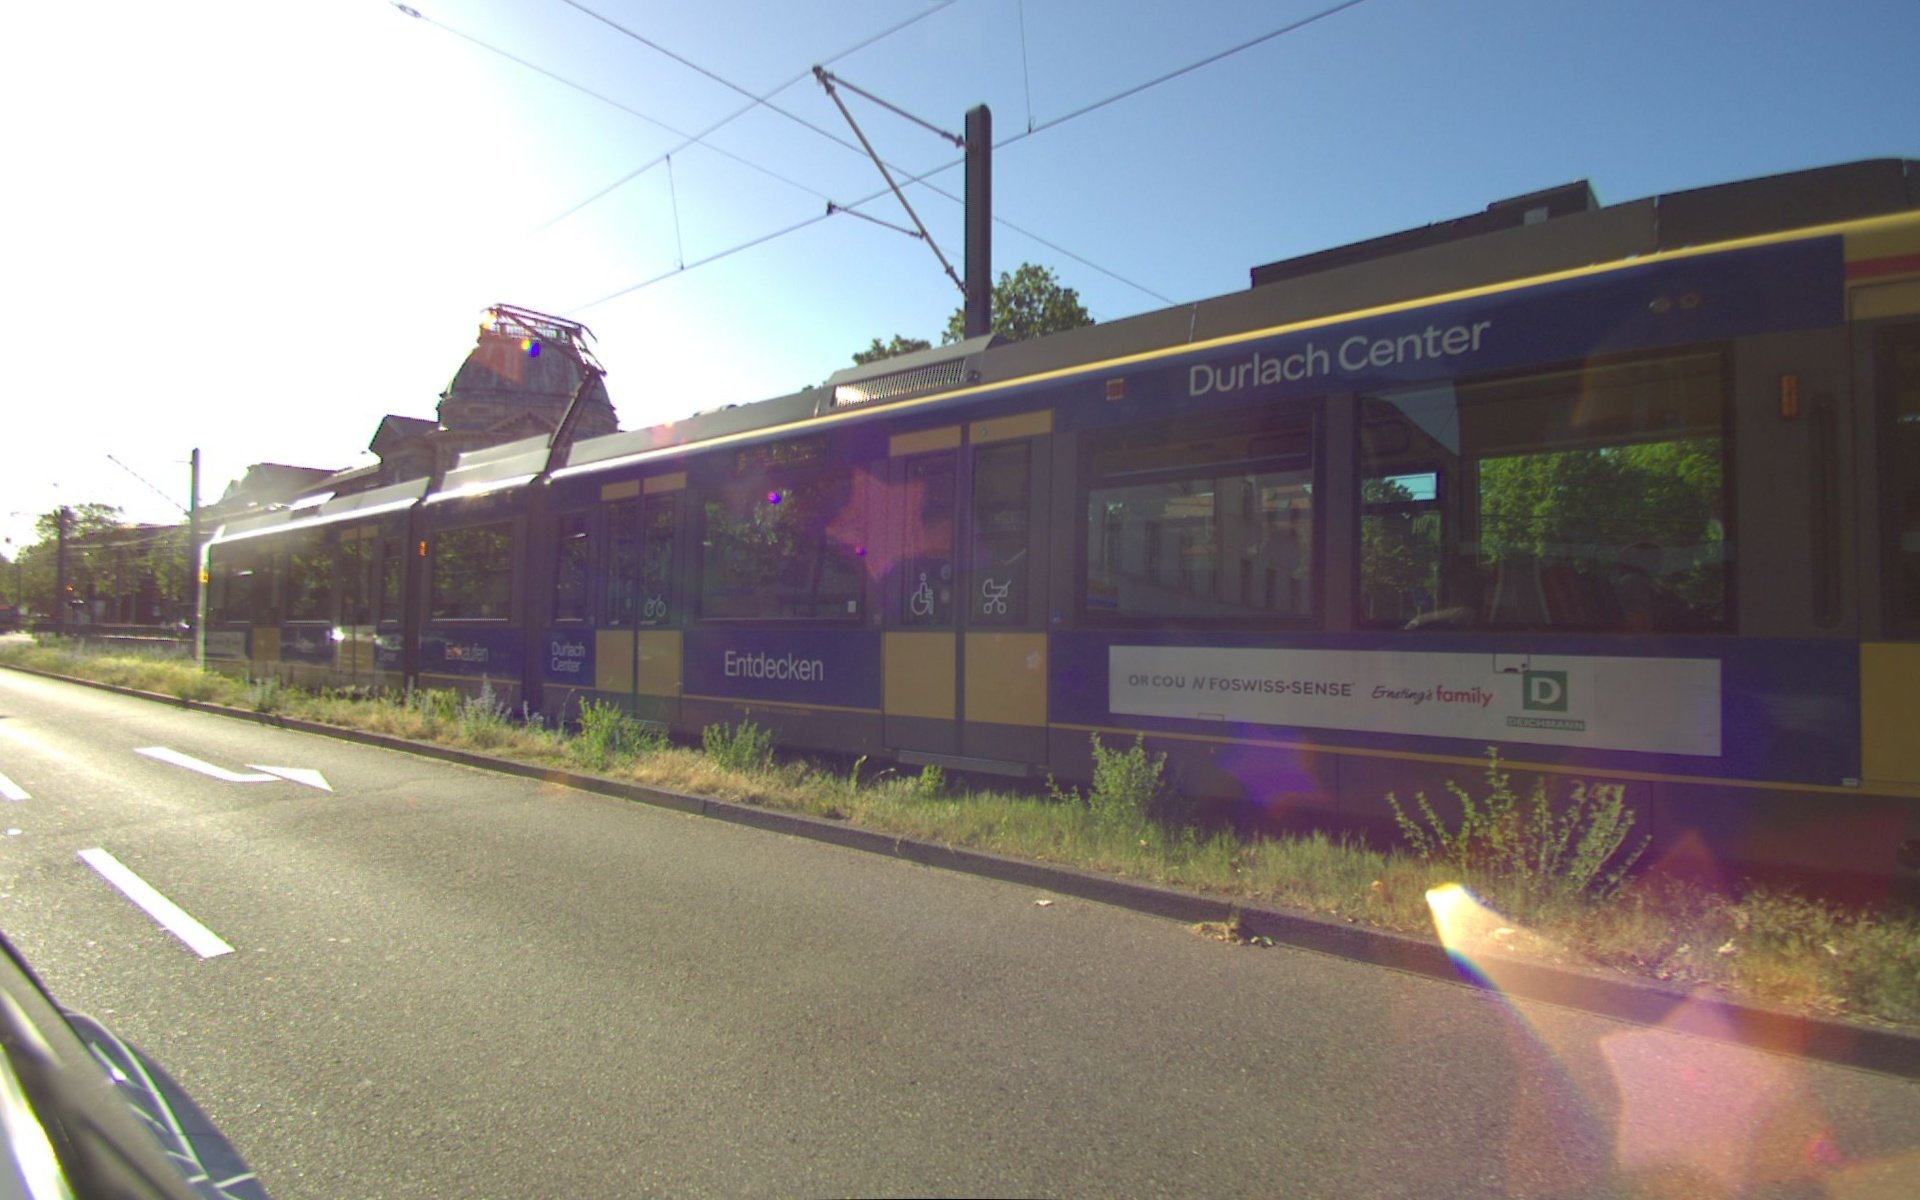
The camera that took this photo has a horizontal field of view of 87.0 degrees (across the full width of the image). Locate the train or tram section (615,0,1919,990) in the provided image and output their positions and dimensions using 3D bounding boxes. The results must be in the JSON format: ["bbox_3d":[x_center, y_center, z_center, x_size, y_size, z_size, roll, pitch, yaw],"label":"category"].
[{"bbox_3d":[1.743,-0.434,7.420,10.794,3.926,2.923,-1,0,40],"label":"train or tram section"}]

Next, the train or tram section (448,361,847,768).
[{"bbox_3d":[-3.774,-0.332,12.141,3.863,3.926,2.925,-1,0,40],"label":"train or tram section"}]

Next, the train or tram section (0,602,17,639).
[{"bbox_3d":[-97.395,2.087,101.394,11.278,3.510,2.931,-2,-1,40],"label":"train or tram section"}]

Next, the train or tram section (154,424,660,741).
[{"bbox_3d":[-10.703,-0.130,17.997,14.261,3.841,2.899,-1,0,40],"label":"train or tram section"}]
